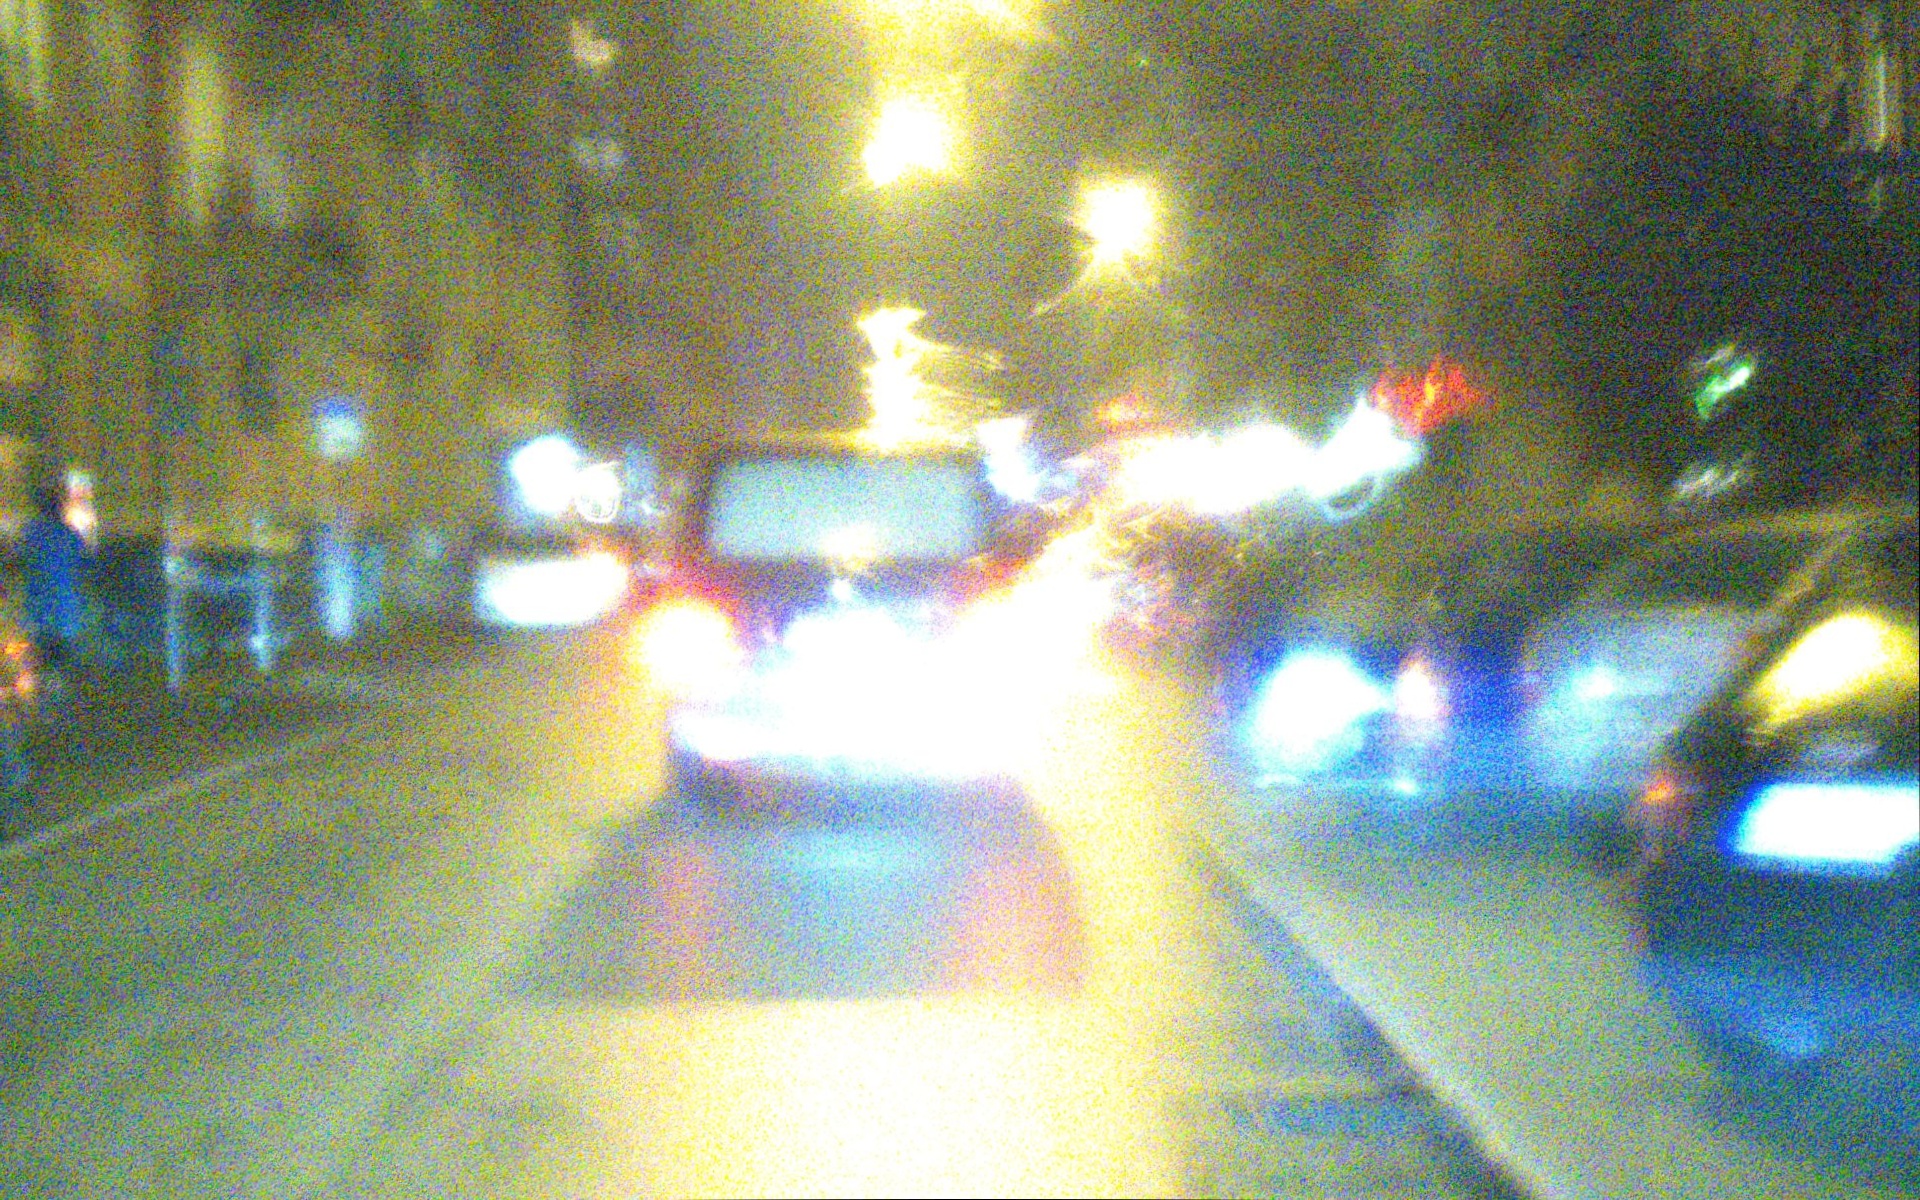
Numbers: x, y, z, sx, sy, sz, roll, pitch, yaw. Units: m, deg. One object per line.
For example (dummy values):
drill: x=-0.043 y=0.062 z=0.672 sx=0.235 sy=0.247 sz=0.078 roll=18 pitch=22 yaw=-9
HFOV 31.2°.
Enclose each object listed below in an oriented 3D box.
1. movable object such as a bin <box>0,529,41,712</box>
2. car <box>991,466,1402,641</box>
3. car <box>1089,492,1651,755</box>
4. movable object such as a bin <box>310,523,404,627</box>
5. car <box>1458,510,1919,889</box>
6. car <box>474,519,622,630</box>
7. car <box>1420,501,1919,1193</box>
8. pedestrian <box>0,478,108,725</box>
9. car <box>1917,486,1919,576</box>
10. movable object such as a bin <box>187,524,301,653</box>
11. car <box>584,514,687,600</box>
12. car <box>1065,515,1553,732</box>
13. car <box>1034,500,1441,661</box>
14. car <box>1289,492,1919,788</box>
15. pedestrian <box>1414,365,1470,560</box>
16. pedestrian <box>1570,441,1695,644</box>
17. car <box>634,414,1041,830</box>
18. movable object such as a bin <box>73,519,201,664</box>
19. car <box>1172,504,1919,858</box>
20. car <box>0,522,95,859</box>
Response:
movable object such as a bin: x=-8.030 y=0.147 z=27.191 sx=1.141 sy=1.415 sz=1.248 roll=1 pitch=1 yaw=2
car: x=2.970 y=-0.619 z=42.843 sx=4.784 sy=2.042 sz=2.067 roll=-2 pitch=2 yaw=-31
car: x=2.740 y=0.096 z=22.579 sx=3.643 sy=1.575 sz=1.592 roll=-2 pitch=2 yaw=-40
movable object such as a bin: x=-8.309 y=-0.351 z=47.407 sx=1.048 sy=1.393 sz=1.158 roll=1 pitch=1 yaw=2
car: x=4.234 y=0.327 z=15.257 sx=3.988 sy=1.447 sz=1.688 roll=-3 pitch=1 yaw=-38
car: x=-5.699 y=-0.386 z=47.891 sx=1.587 sy=1.477 sz=3.793 roll=0 pitch=1 yaw=0
car: x=3.367 y=0.480 z=9.376 sx=3.988 sy=1.547 sz=1.804 roll=-3 pitch=1 yaw=-35
pedestrian: x=-6.830 y=0.003 z=25.891 sx=0.591 sy=1.814 sz=0.795 roll=2 pitch=1 yaw=-1
car: x=3.974 y=0.479 z=6.805 sx=3.988 sy=1.547 sz=1.999 roll=-3 pitch=1 yaw=-38
movable object such as a bin: x=-7.918 y=-0.139 z=38.067 sx=0.975 sy=1.393 sz=1.133 roll=1 pitch=1 yaw=2
car: x=-5.958 y=-0.817 z=63.519 sx=1.812 sy=1.552 sz=4.077 roll=0 pitch=1 yaw=-4
car: x=2.749 y=0.141 z=26.780 sx=3.642 sy=1.575 sz=1.592 roll=-1 pitch=2 yaw=-36
car: x=3.002 y=-0.223 z=37.046 sx=3.987 sy=1.487 sz=1.735 roll=-3 pitch=1 yaw=-26
car: x=3.891 y=0.171 z=20.088 sx=3.641 sy=1.575 sz=1.593 roll=-1 pitch=2 yaw=-29
pedestrian: x=8.723 y=-2.480 z=62.241 sx=0.891 sy=3.515 sz=0.791 roll=0 pitch=1 yaw=-1
pedestrian: x=6.358 y=-0.550 z=32.553 sx=0.868 sy=1.849 sz=0.993 roll=-3 pitch=1 yaw=-3
car: x=-0.630 y=0.084 z=18.978 sx=1.993 sy=2.043 sz=4.000 roll=0 pitch=1 yaw=-1
movable object such as a bin: x=-8.277 y=-0.098 z=34.624 sx=0.975 sy=1.415 sz=1.133 roll=1 pitch=1 yaw=2
car: x=2.936 y=0.328 z=16.847 sx=3.674 sy=1.455 sz=1.603 roll=-3 pitch=2 yaw=-41
car: x=-5.018 y=0.409 z=14.600 sx=1.686 sy=1.450 sz=4.316 roll=0 pitch=2 yaw=-1
